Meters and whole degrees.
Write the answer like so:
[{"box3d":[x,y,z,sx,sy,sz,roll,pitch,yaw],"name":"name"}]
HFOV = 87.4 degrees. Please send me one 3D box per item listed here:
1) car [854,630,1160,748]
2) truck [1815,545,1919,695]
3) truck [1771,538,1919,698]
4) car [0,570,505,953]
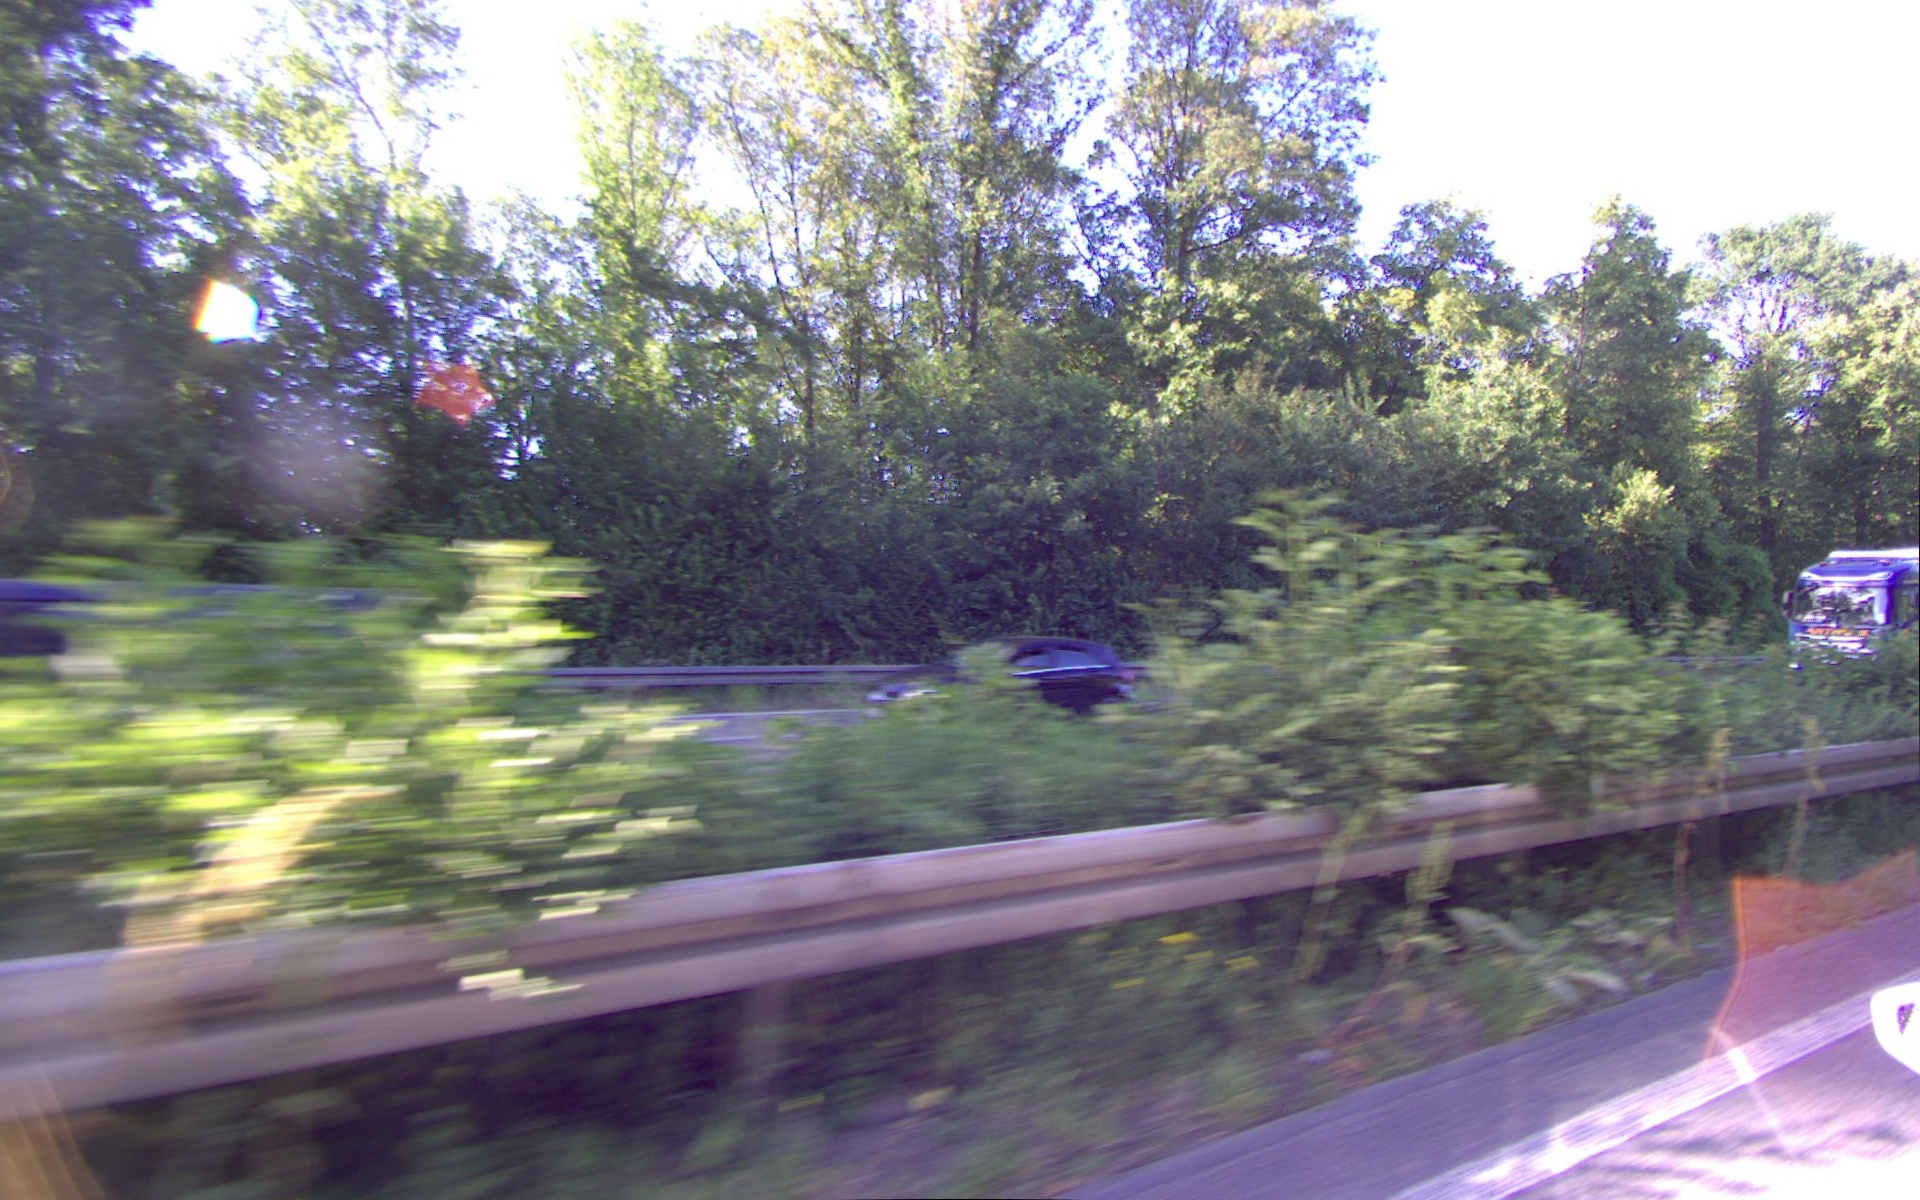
[{"box3d":[0.729,1.242,14.869,4.217,1.478,1.771,2,0,-29],"name":"car"},{"box3d":[32.009,0.734,32.008,13.855,4.151,2.695,2,0,-30],"name":"truck"},{"box3d":[25.895,0.531,28.471,5.372,4.151,2.703,2,0,-30],"name":"truck"},{"box3d":[-4.876,0.790,5.803,3.951,1.873,1.771,2,0,-29],"name":"car"}]
